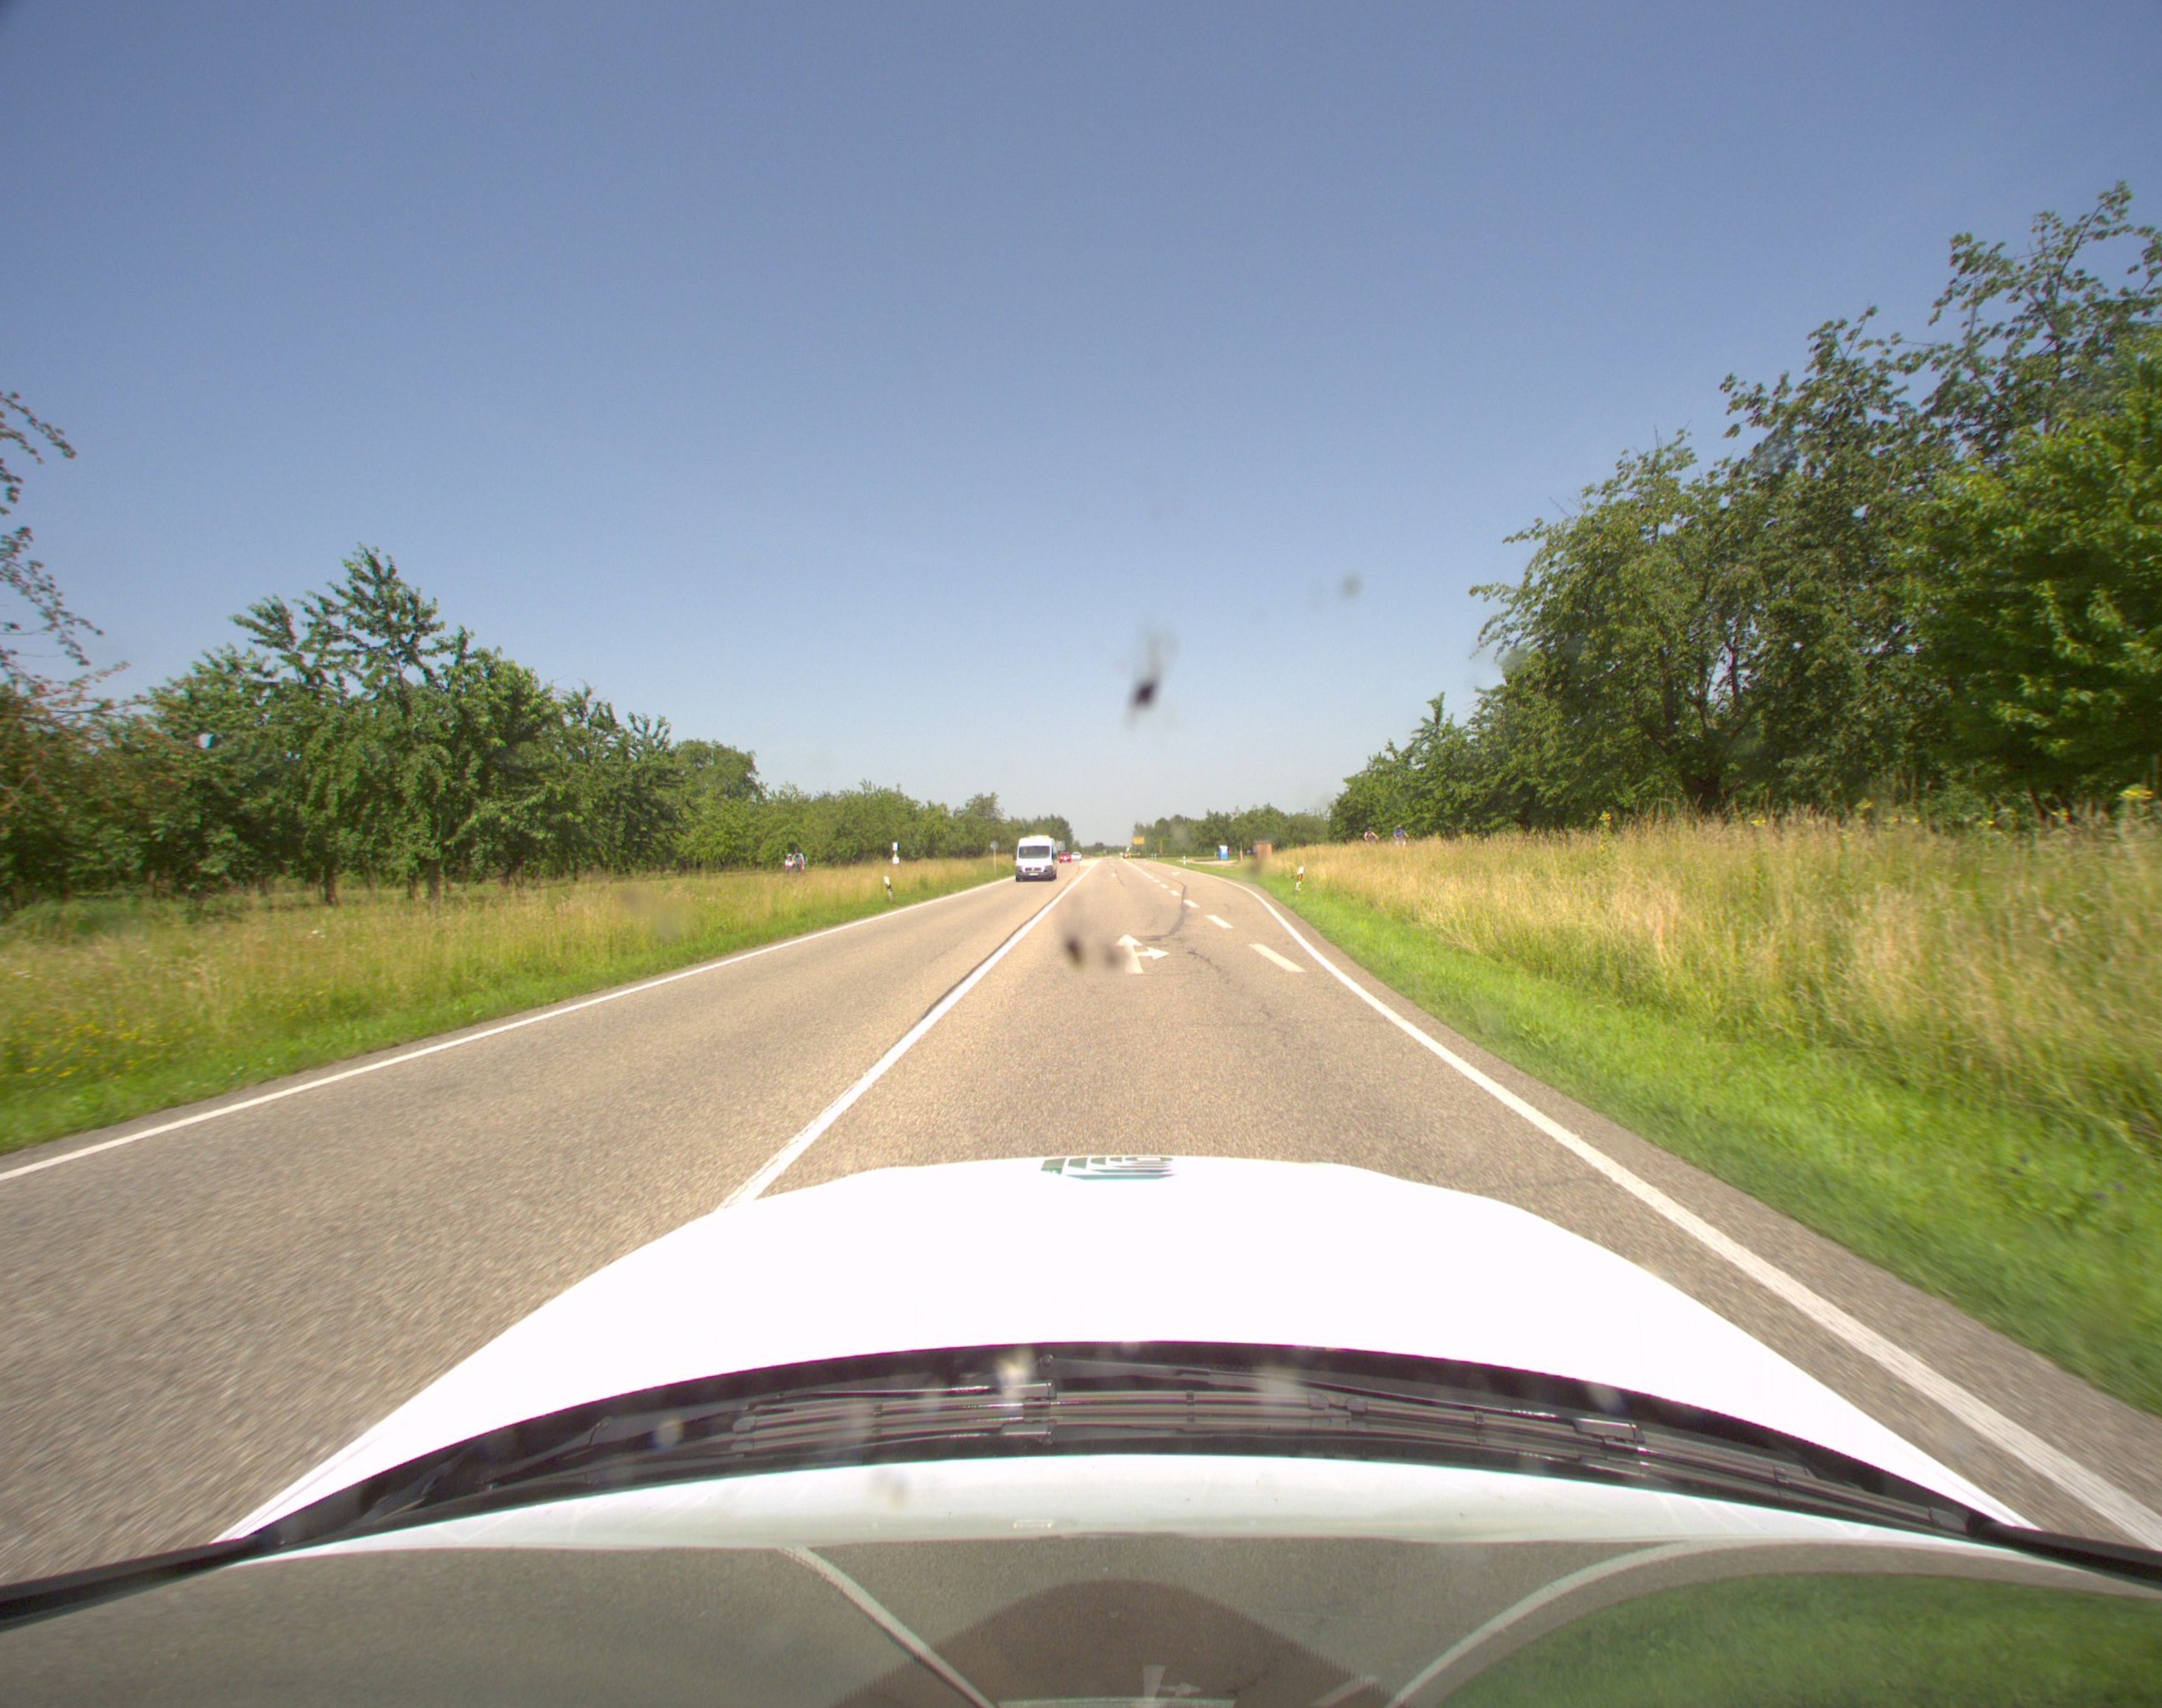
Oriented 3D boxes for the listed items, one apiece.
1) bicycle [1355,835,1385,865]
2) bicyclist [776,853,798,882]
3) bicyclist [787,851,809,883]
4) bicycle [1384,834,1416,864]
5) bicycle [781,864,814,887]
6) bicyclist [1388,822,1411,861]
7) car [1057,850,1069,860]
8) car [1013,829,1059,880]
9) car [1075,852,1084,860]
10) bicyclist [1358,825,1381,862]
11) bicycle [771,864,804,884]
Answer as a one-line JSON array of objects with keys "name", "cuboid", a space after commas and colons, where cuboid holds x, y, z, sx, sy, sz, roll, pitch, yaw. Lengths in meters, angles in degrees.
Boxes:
[{"name": "bicycle", "cuboid": [14.664, -0.199, 41.357, 0.747, 1.418, 2.222, -3, 0, 2]}, {"name": "bicyclist", "cuboid": [-15.008, 0.679, 41.595, 0.747, 1.455, 0.853, 0, -2, -44]}, {"name": "bicyclist", "cuboid": [-12.560, 0.572, 36.136, 0.639, 1.414, 0.864, -1, -1, 2]}, {"name": "bicycle", "cuboid": [16.062, -0.235, 41.032, 0.747, 1.418, 2.222, -3, 0, 2]}, {"name": "bicycle", "cuboid": [-12.554, 0.928, 36.121, 0.646, 0.989, 1.956, -1, -1, 3]}, {"name": "bicyclist", "cuboid": [16.050, -0.635, 41.043, 0.747, 1.929, 0.828, -3, 0, 1]}, {"name": "car", "cuboid": [-2.615, 0.112, 117.570, 1.620, 1.457, 3.621, -1, 0, 1]}, {"name": "car", "cuboid": [-2.514, 0.043, 46.923, 2.153, 2.669, 6.143, -1, -1, 1]}, {"name": "car", "cuboid": [-0.329, 0.393, 151.450, 1.669, 1.494, 4.136, -1, 0, 0]}, {"name": "bicyclist", "cuboid": [14.651, -0.527, 41.378, 0.747, 1.866, 0.869, -3, 0, 2]}, {"name": "bicycle", "cuboid": [-14.988, 1.016, 41.563, 0.747, 0.989, 2.197, 0, -2, -44]}]
